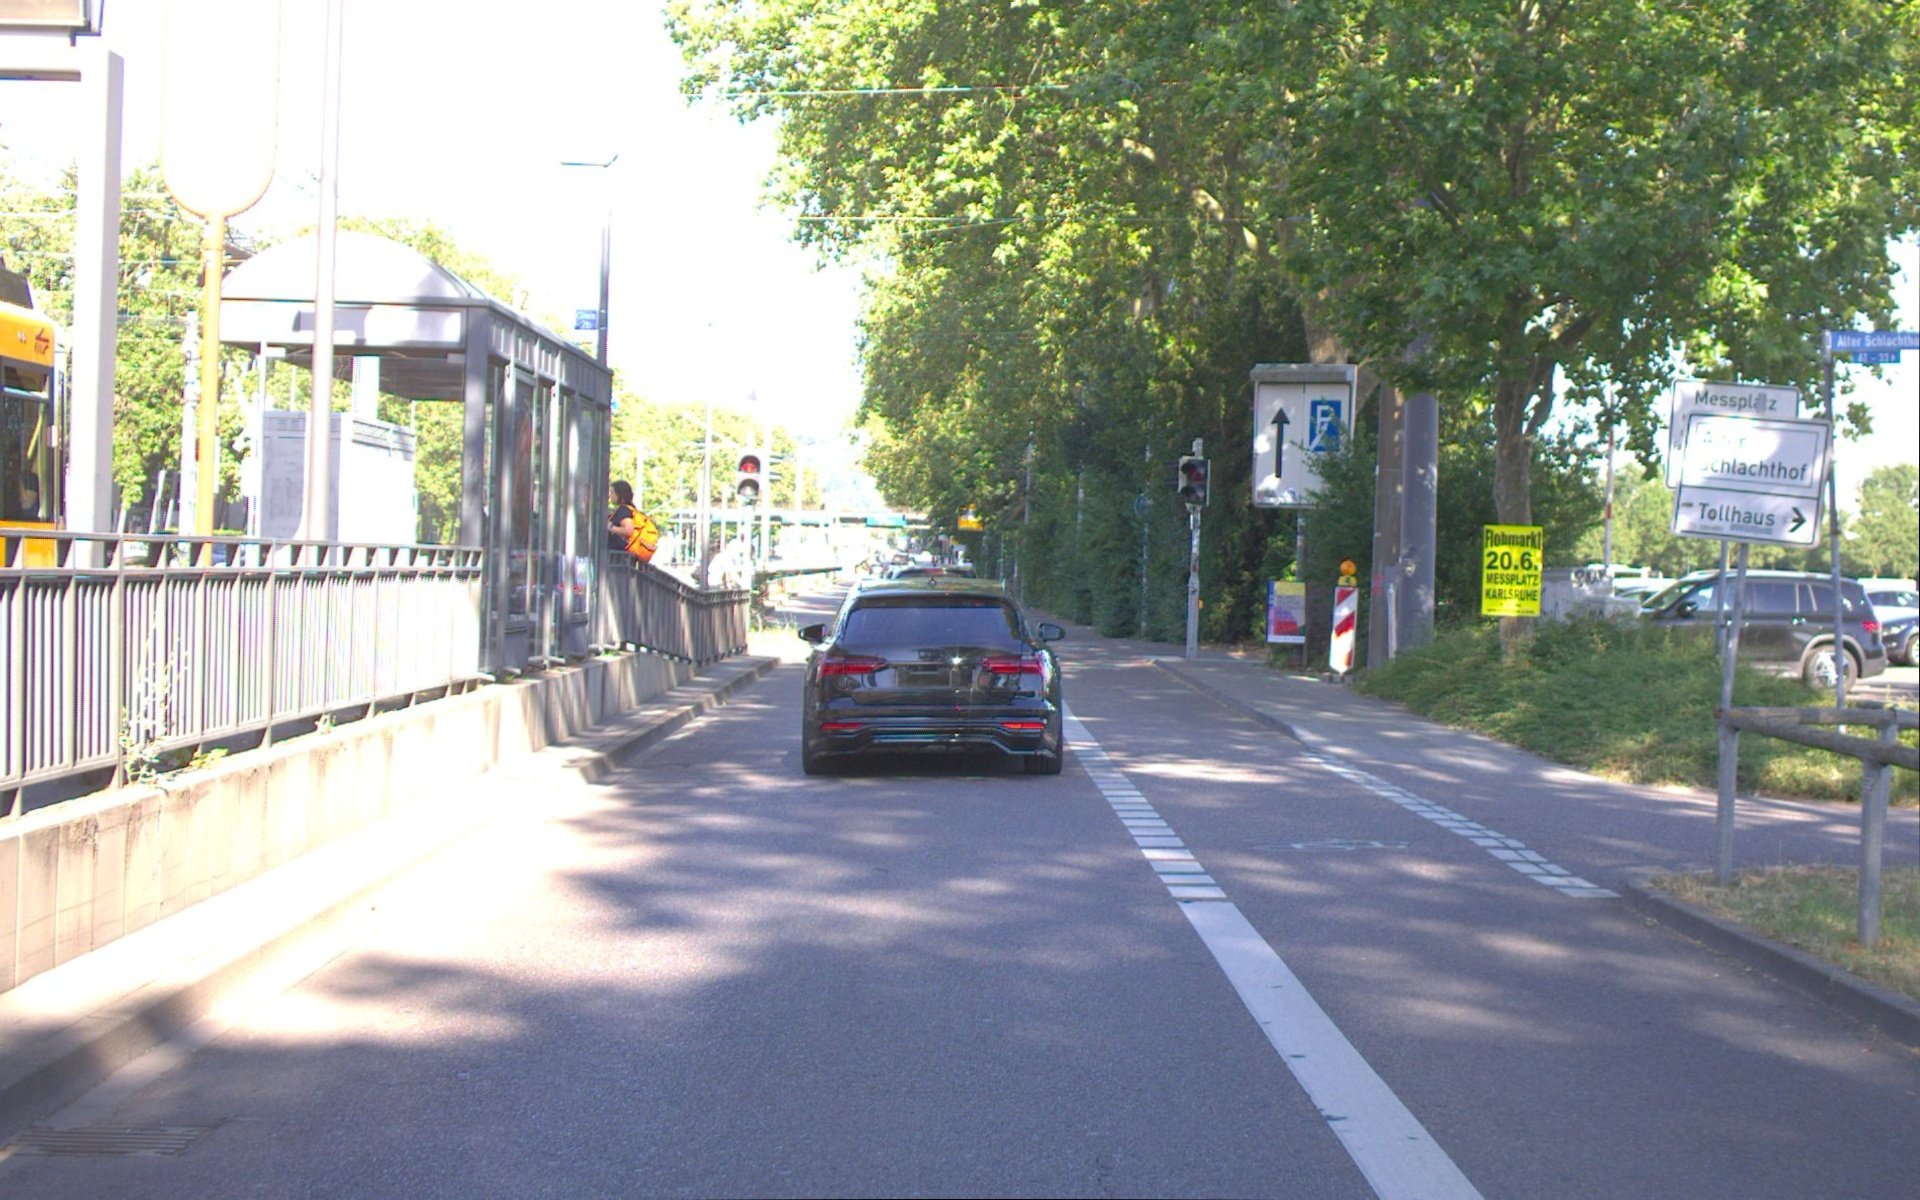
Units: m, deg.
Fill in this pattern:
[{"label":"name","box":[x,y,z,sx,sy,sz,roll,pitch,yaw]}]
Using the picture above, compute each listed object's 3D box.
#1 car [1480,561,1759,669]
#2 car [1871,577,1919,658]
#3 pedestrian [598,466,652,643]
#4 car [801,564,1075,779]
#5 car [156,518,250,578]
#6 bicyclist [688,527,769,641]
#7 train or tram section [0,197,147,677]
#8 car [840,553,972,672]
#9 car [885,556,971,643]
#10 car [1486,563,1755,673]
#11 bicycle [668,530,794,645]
[{"label":"car","box":[10.092,0.216,52.804,3.886,1.499,1.888,2,1,1]},{"label":"car","box":[20.838,0.409,70.510,3.812,1.603,1.670,2,1,0]},{"label":"pedestrian","box":[-3.297,-0.444,33.825,0.412,1.711,0.666,2,1,-1]},{"label":"car","box":[-0.229,0.484,25.532,1.878,1.452,3.357,0,1,-3]},{"label":"car","box":[-21.089,-1.430,95.941,1.739,1.542,4.000,3,0,-1]},{"label":"bicyclist","box":[-3.560,-0.239,52.860,0.770,1.711,0.907,3,1,45]},{"label":"train or tram section","box":[-9.306,-1.334,26.538,3.309,3.816,11.844,2,1,-1]},{"label":"car","box":[-0.842,0.152,50.940,1.762,1.614,4.001,2,1,-3]},{"label":"car","box":[-0.784,-0.047,84.477,1.993,2.007,4.000,2,1,-1]},{"label":"car","box":[9.679,0.246,50.582,3.594,1.457,1.678,2,1,1]},{"label":"bicycle","box":[-3.509,-0.187,52.890,0.591,1.711,1.968,3,1,45]}]
